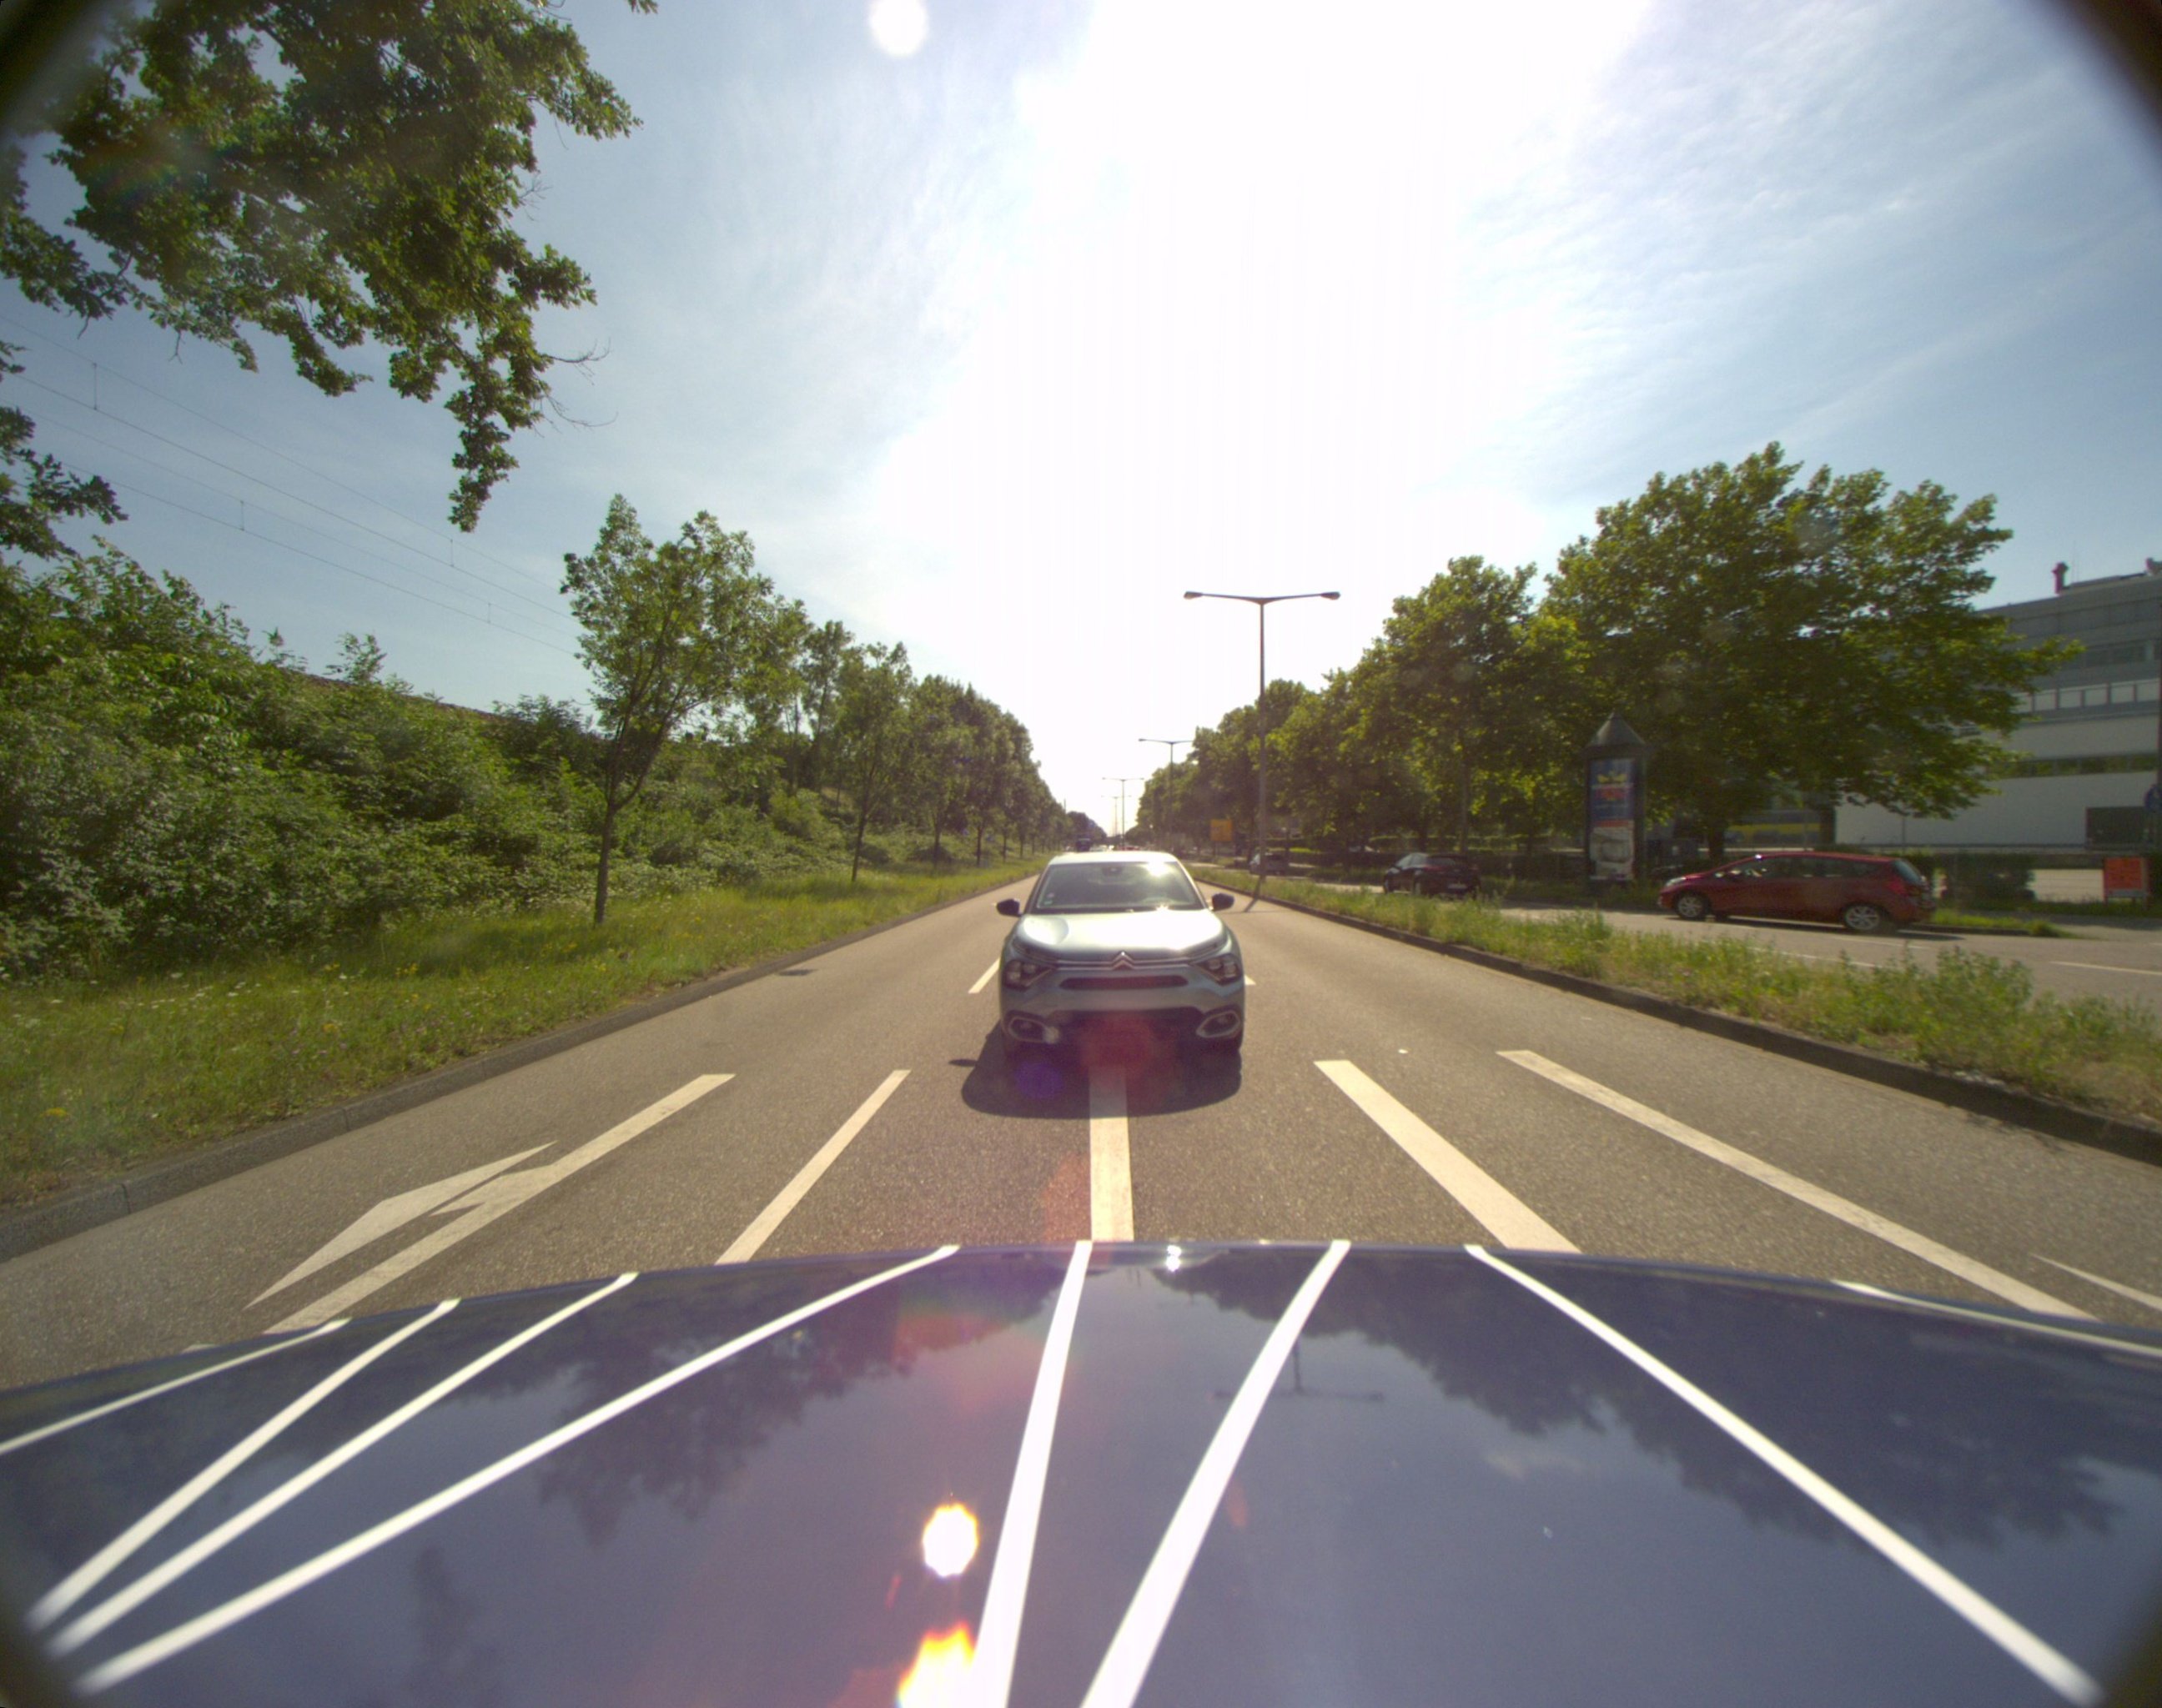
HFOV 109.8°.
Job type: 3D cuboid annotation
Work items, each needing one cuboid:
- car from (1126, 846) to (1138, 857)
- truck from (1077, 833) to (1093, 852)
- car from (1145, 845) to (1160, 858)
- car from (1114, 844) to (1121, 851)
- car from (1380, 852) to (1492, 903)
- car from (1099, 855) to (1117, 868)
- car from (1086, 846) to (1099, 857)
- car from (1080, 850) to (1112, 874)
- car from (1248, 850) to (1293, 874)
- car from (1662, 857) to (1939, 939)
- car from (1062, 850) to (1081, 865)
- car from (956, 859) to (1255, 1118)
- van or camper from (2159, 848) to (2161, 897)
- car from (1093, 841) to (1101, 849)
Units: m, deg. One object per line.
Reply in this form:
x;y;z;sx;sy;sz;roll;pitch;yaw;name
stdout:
9.115;-0.454;135.474;1.998;2.002;4.000;-1;1;1;car
0.803;-1.987;135.651;2.775;3.248;7.482;0;1;1;truck
11.313;-0.357;120.146;1.998;2.002;4.000;-1;1;1;car
11.277;-1.993;233.118;1.998;2.002;4.000;-1;1;1;car
11.255;0.694;24.385;1.844;1.414;3.894;0;1;1;car
2.927;0.791;82.979;1.730;1.354;4.067;-2;1;0;car
1.730;-0.331;111.181;1.826;1.521;4.547;-1;0;2;car
0.950;0.484;49.081;1.998;1.492;4.000;-1;0;1;car
12.098;0.510;48.835;1.844;1.414;4.221;1;0;0;car
14.363;0.784;15.361;1.857;1.426;3.757;1;0;-35;car
-0.967;0.335;75.605;1.705;1.429;3.677;-2;1;-2;car
0.234;0.855;7.062;1.826;1.521;4.752;-1;0;2;car
39.482;0.630;25.039;2.004;1.682;4.500;-1;1;-37;van or camper
3.838;-2.149;184.746;1.998;2.002;4.000;-1;1;1;car
